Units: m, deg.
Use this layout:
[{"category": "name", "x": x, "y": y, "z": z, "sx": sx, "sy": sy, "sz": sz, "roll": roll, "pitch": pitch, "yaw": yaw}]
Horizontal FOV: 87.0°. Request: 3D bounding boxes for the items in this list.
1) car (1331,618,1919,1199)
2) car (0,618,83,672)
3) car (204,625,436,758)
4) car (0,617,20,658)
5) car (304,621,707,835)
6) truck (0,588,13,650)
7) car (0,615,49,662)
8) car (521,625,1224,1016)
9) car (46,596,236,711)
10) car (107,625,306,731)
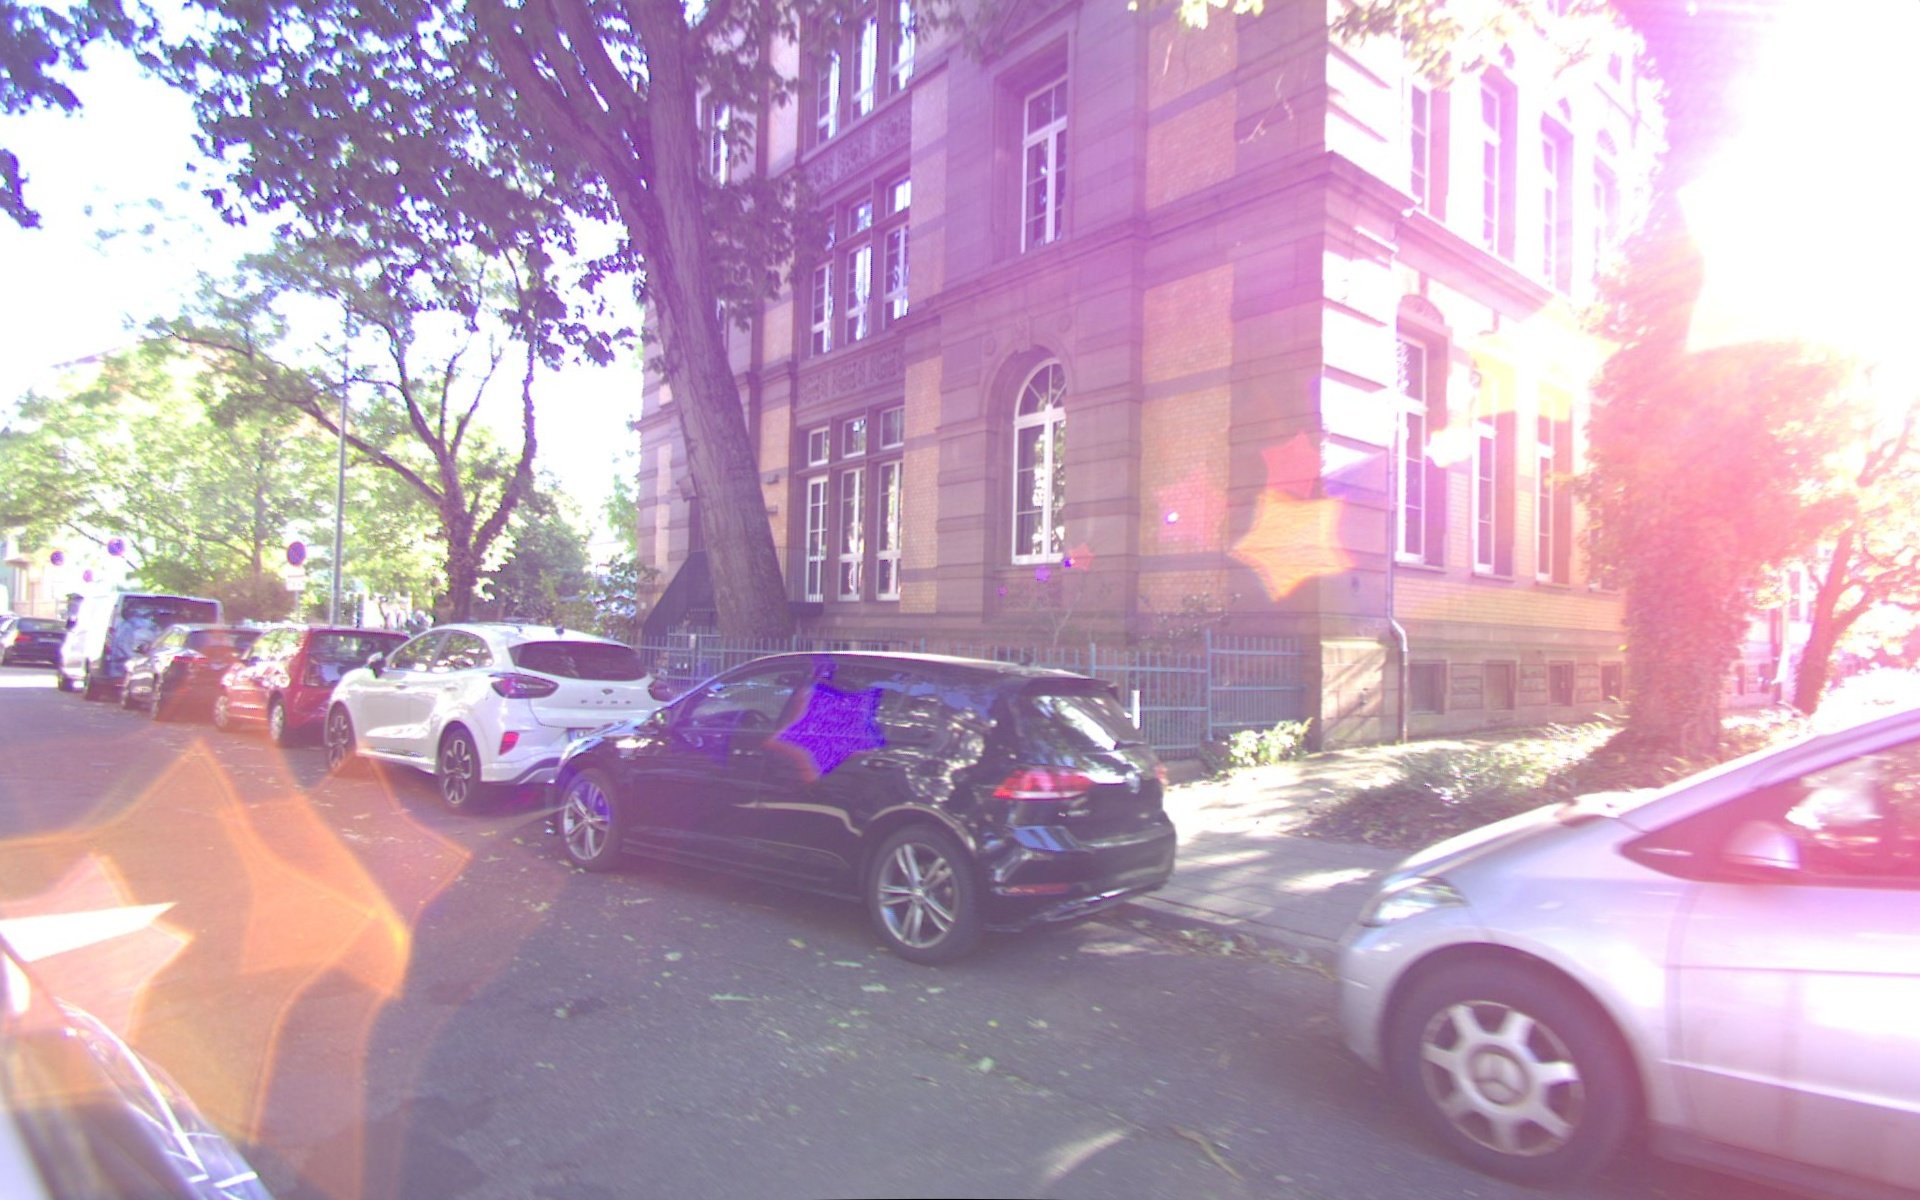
[{"category": "car", "x": 3.241, "y": 0.925, "z": 2.571, "sx": 3.951, "sy": 1.570, "sz": 1.688, "roll": 0, "pitch": -6, "yaw": 41}, {"category": "car", "x": -26.929, "y": 1.284, "z": 29.333, "sx": 3.999, "sy": 1.475, "sz": 1.716, "roll": -1, "pitch": -3, "yaw": 42}, {"category": "car", "x": -8.312, "y": 1.106, "z": 13.060, "sx": 3.309, "sy": 1.475, "sz": 1.603, "roll": -1, "pitch": -4, "yaw": 41}, {"category": "car", "x": -36.297, "y": 1.361, "z": 37.479, "sx": 4.207, "sy": 1.470, "sz": 1.764, "roll": -1, "pitch": -3, "yaw": 42}, {"category": "car", "x": -4.327, "y": 1.045, "z": 9.388, "sx": 3.997, "sy": 1.545, "sz": 1.770, "roll": -1, "pitch": -6, "yaw": 40}, {"category": "truck", "x": -44.853, "y": 0.802, "z": 45.508, "sx": 7.088, "sy": 2.677, "sz": 2.365, "roll": 0, "pitch": -3, "yaw": 40}, {"category": "car", "x": -31.666, "y": 1.235, "z": 33.564, "sx": 3.999, "sy": 1.484, "sz": 1.732, "roll": -1, "pitch": -2, "yaw": 42}, {"category": "car", "x": -0.678, "y": 1.010, "z": 5.977, "sx": 3.991, "sy": 1.475, "sz": 1.567, "roll": 1, "pitch": -6, "yaw": 35}, {"category": "car", "x": -16.077, "y": 1.021, "z": 19.762, "sx": 5.041, "sy": 1.972, "sz": 1.972, "roll": -1, "pitch": -5, "yaw": 42}, {"category": "car", "x": -12.023, "y": 1.176, "z": 16.064, "sx": 3.843, "sy": 1.475, "sz": 1.708, "roll": -1, "pitch": -4, "yaw": 42}]
